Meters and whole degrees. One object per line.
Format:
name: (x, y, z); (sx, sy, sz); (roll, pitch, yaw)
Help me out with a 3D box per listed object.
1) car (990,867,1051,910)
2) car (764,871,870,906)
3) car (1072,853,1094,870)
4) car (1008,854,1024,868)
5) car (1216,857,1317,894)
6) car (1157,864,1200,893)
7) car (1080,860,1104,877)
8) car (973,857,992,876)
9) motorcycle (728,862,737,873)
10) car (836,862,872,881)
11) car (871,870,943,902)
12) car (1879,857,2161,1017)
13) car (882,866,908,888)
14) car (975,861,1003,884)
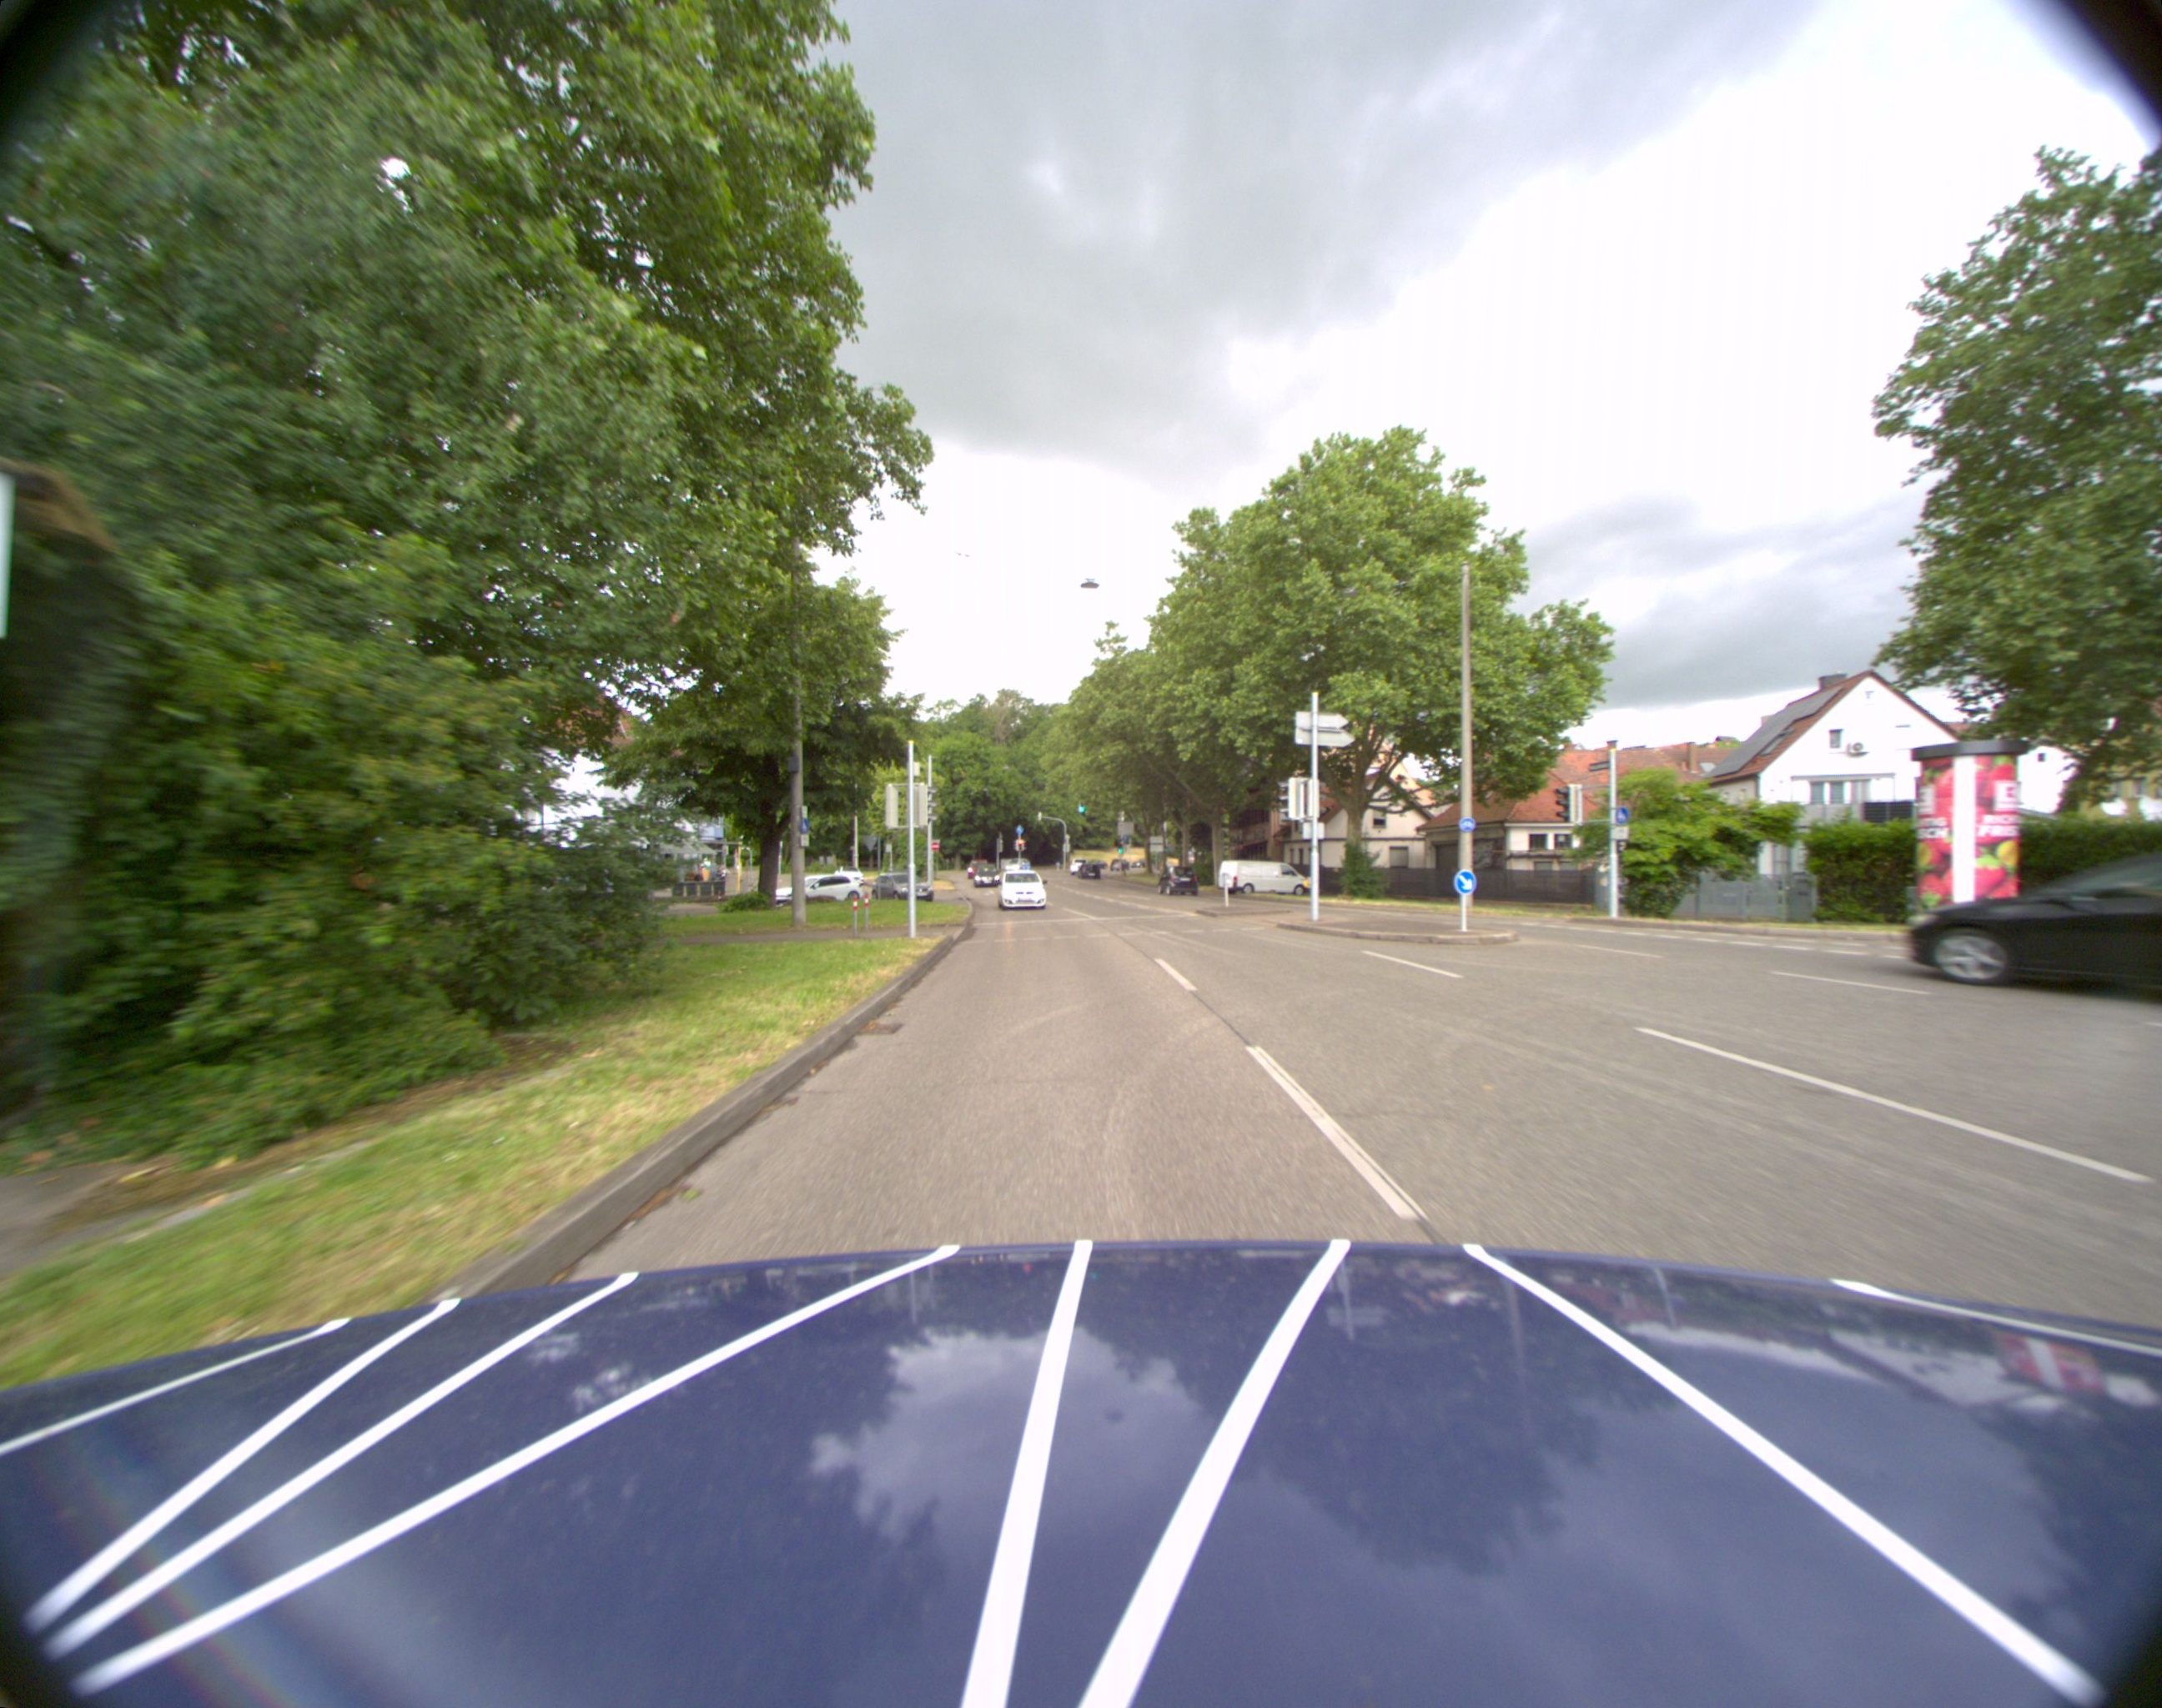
car: (-2.419, 1.282, 29.441); (1.630, 1.499, 3.995); (-1, -1, -15)
car: (-12.039, 1.540, 34.854); (1.759, 1.372, 4.271); (-1, 0, 39)
car: (0.160, 0.782, 78.045); (1.916, 1.753, 4.751); (0, -1, -3)
car: (-7.564, 0.792, 87.975); (1.784, 1.560, 3.997); (0, 1, -5)
car: (10.497, 1.216, 42.979); (5.250, 1.920, 2.080); (2, 0, -22)
car: (5.210, 1.287, 40.941); (1.573, 1.518, 3.187); (0, -1, -7)
car: (0.935, 1.238, 67.428); (1.573, 1.374, 3.947); (1, 0, -7)
car: (-8.922, 1.109, 68.755); (1.676, 1.632, 4.097); (0, 1, -8)
motorcycle: (-30.646, 1.183, 66.810); (0.522, 0.980, 1.820); (0, 1, -19)
car: (-18.824, 1.417, 62.820); (2.003, 1.378, 4.776); (0, 1, -27)
car: (-8.318, 1.485, 36.098); (1.737, 1.420, 4.102); (-1, -1, -38)
car: (10.186, 0.721, 6.646); (1.682, 1.358, 4.309); (-1, 0, -5)
car: (-12.576, 1.534, 51.534); (1.573, 1.396, 3.491); (0, 0, -11)
car: (-6.580, 1.274, 54.078); (1.732, 1.512, 3.995); (0, 1, -11)
